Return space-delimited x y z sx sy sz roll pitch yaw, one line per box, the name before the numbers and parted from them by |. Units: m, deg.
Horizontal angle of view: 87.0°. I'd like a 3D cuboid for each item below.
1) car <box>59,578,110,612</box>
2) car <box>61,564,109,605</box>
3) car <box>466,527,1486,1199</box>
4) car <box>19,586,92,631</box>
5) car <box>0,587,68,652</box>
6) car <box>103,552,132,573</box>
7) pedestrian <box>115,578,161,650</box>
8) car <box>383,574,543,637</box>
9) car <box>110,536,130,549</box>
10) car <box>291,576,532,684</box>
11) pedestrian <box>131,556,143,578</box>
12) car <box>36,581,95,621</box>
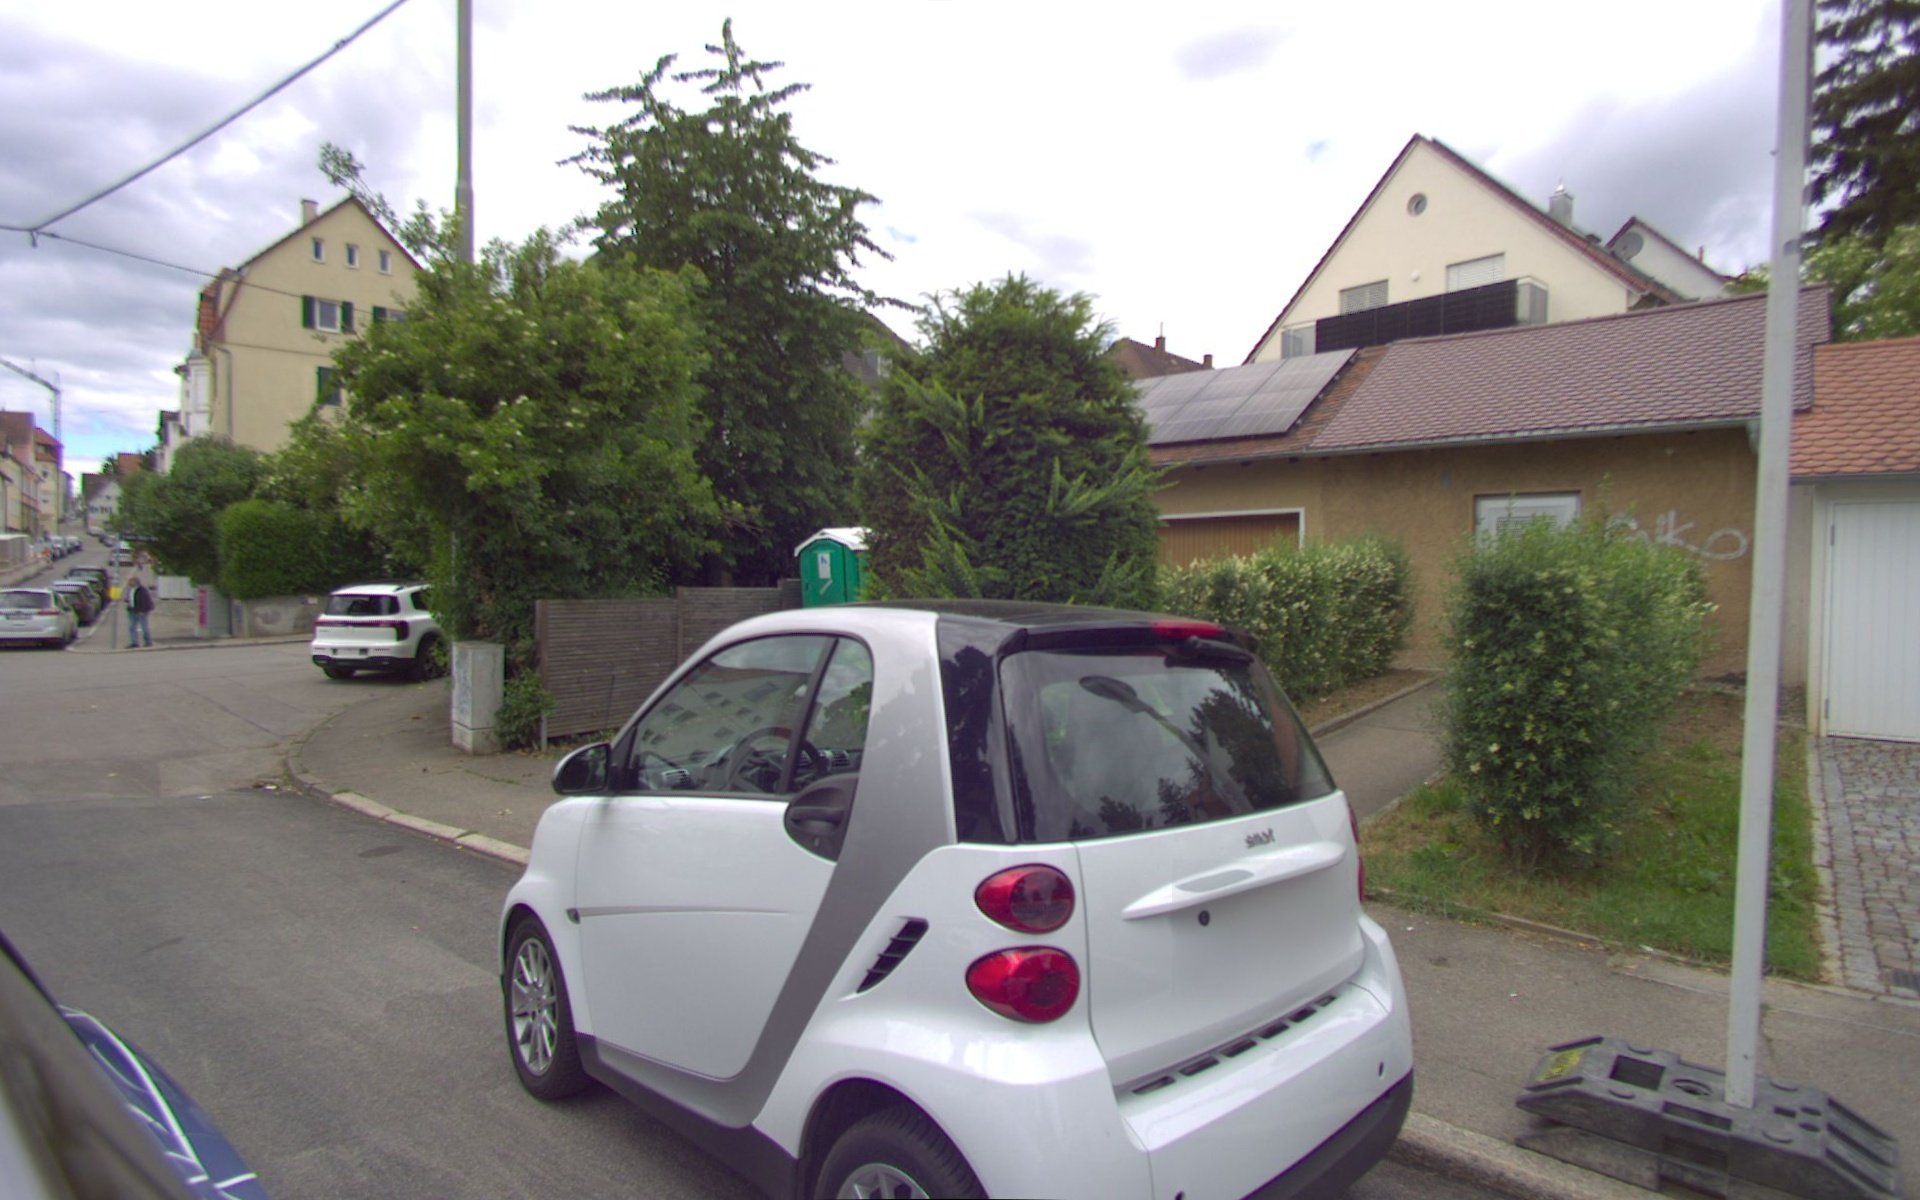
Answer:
car | -39.933 -0.231 46.217 1.618 1.409 3.711 1 2 -39
car | -43.348 -0.783 50.153 1.727 1.810 4.156 1 2 -41
car | -0.210 0.742 2.946 1.425 1.564 2.772 4 -4 -43
car | -34.144 0.286 38.288 1.779 1.491 4.338 1 2 -39
car | -25.629 0.484 27.582 1.781 1.672 4.159 1 0 -39
car | -70.745 -3.167 84.995 1.637 1.578 4.010 1 3 -37
pedestrian | -20.844 0.330 25.670 0.633 1.773 0.825 -2 2 -23
car | -14.129 0.120 28.905 1.787 1.534 3.668 -1 3 43
car | -108.698 -7.433 130.986 1.755 1.578 4.010 0 4 -37
car | -10.032 0.454 18.990 1.811 1.667 4.510 -1 2 4
pedestrian | -62.903 -2.543 77.367 0.607 1.668 0.814 -1 3 -37
car | -37.538 0.009 42.545 1.618 1.439 4.132 2 2 -39
